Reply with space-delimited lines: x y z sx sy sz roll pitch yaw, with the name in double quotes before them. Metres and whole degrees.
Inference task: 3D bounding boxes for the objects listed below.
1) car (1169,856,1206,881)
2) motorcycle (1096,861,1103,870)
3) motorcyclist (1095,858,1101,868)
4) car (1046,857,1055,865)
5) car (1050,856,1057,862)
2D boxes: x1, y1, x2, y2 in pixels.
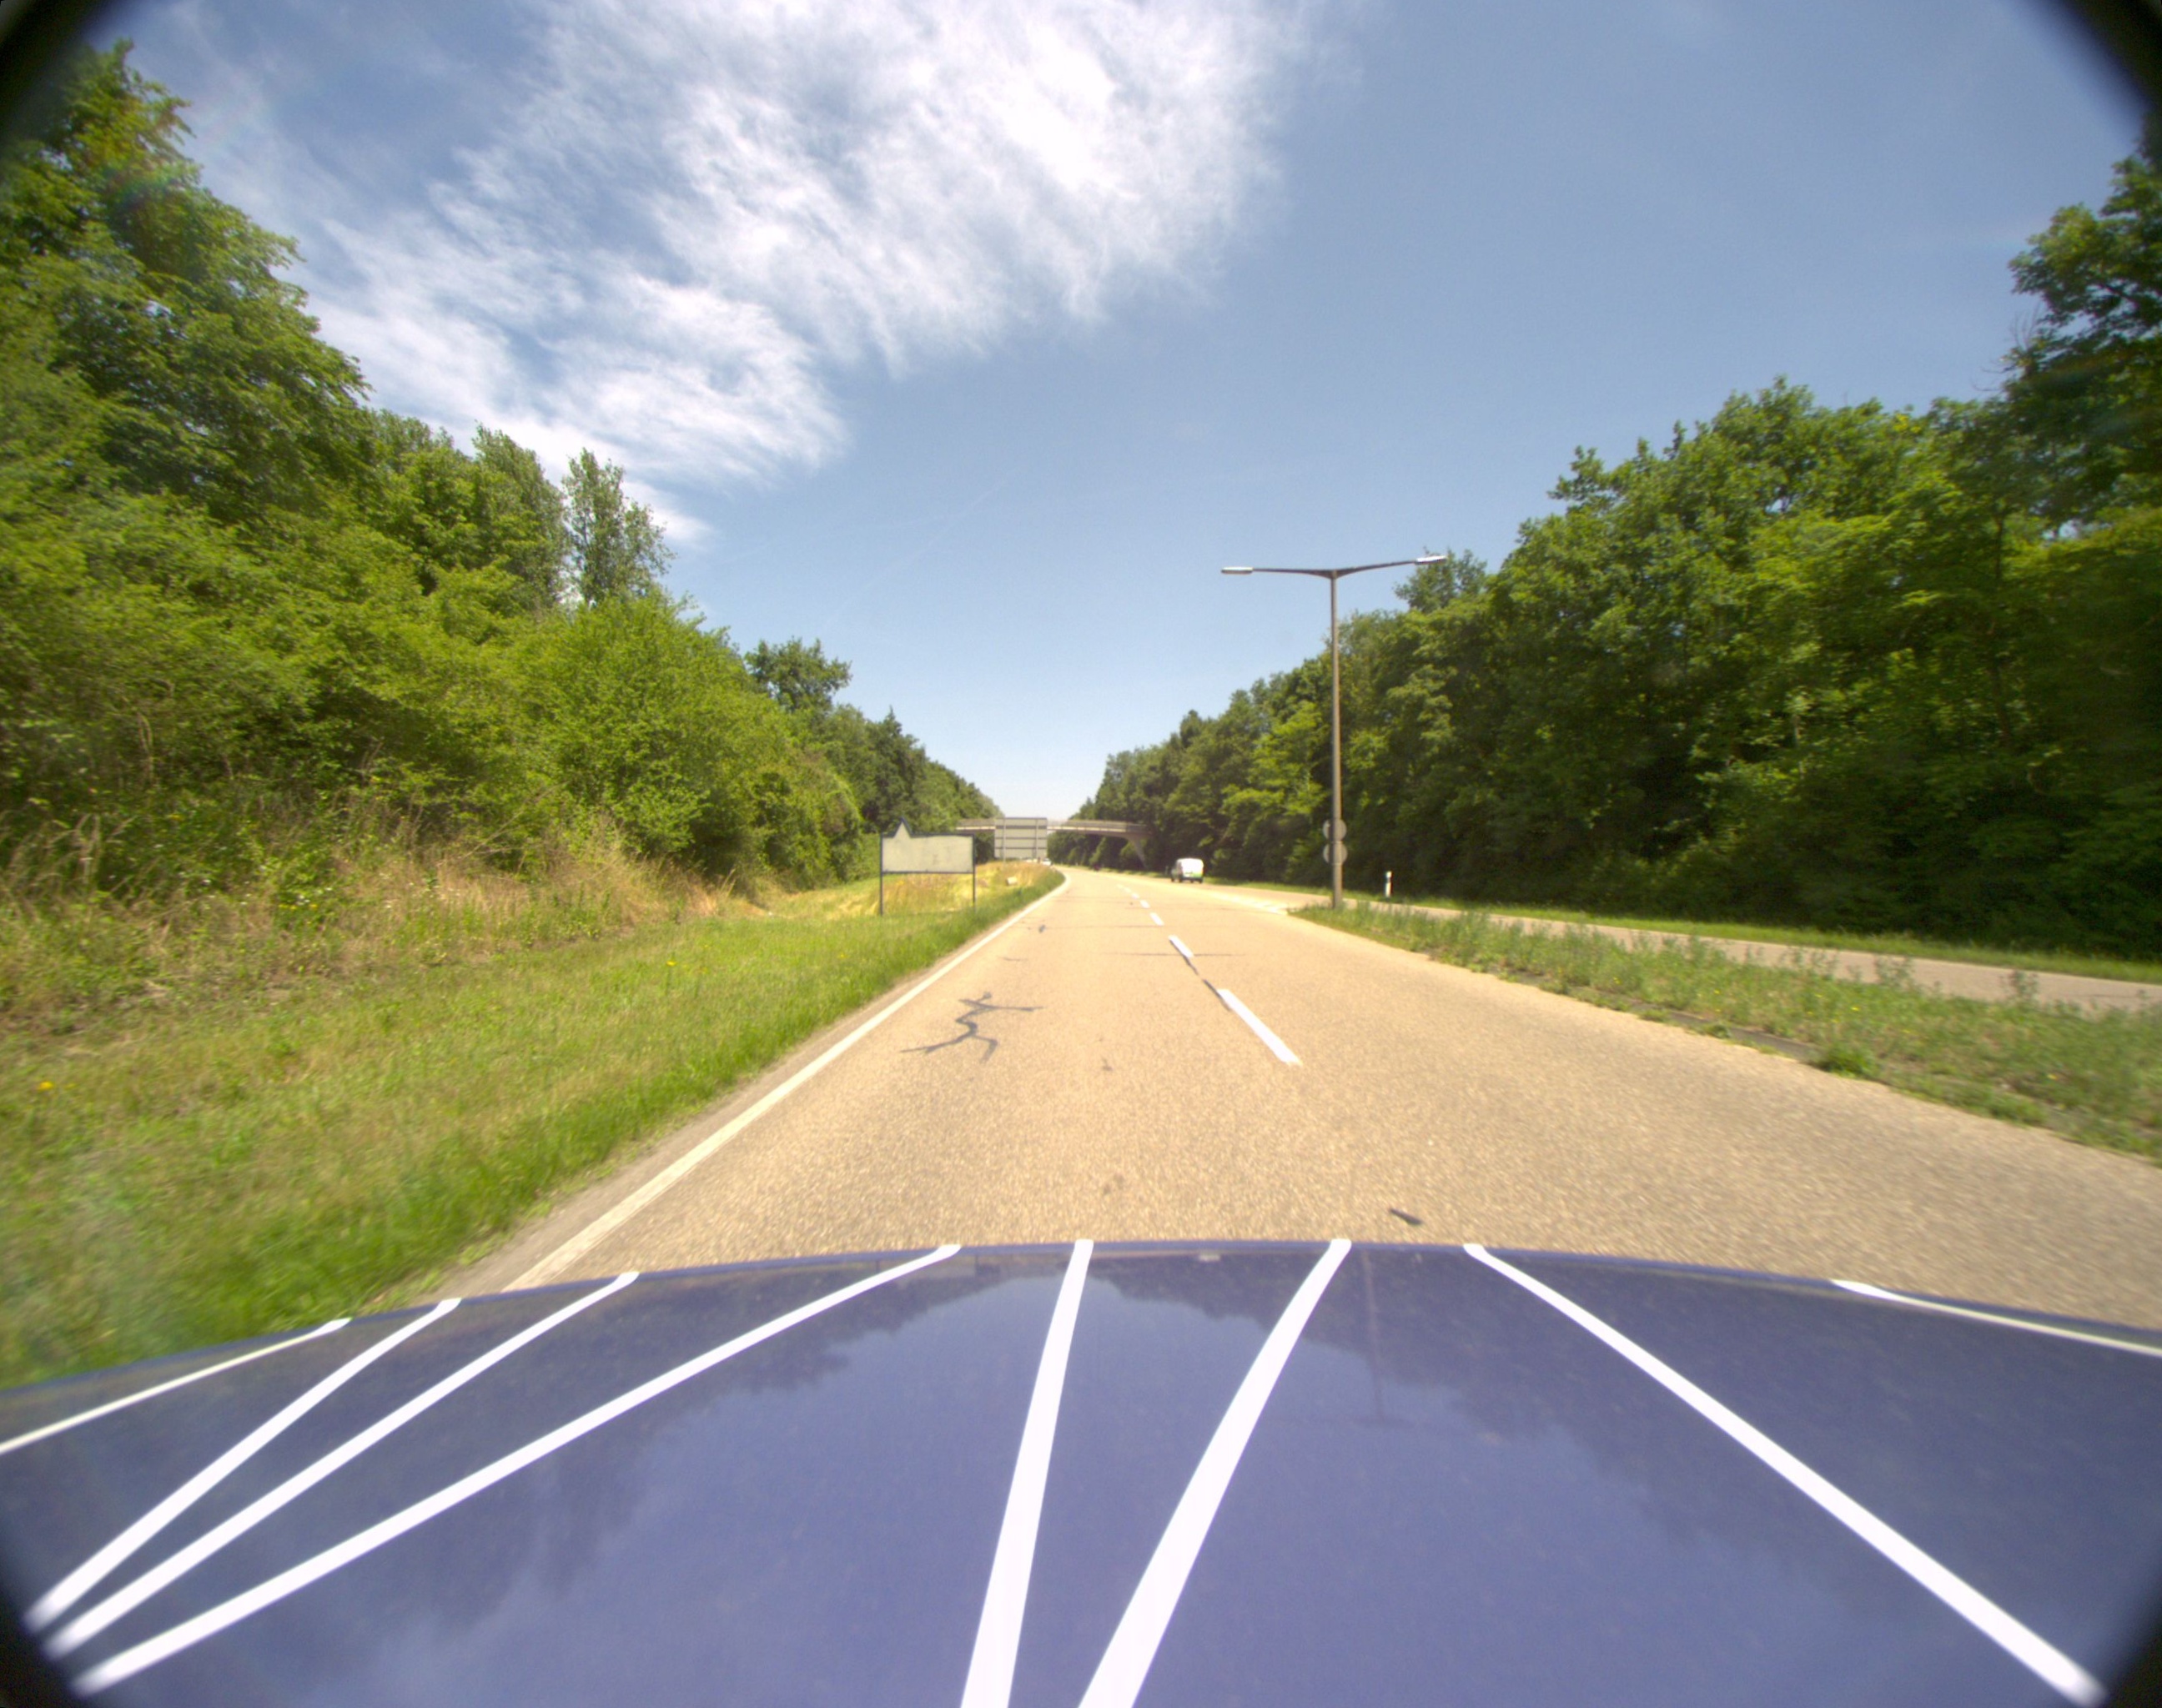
"car" 7.833 1.030 56.093 1.737 1.678 4.093 2 0 -5
"motorcycle" 2.706 1.611 108.924 0.672 1.167 2.230 1 0 -6
"motorcyclist" 2.419 1.252 108.810 0.672 1.467 0.813 1 1 -8
"car" -6.948 1.630 171.861 1.866 1.747 3.998 1 0 -6
"car" -8.426 1.547 232.445 1.828 1.580 4.417 2 0 -5
